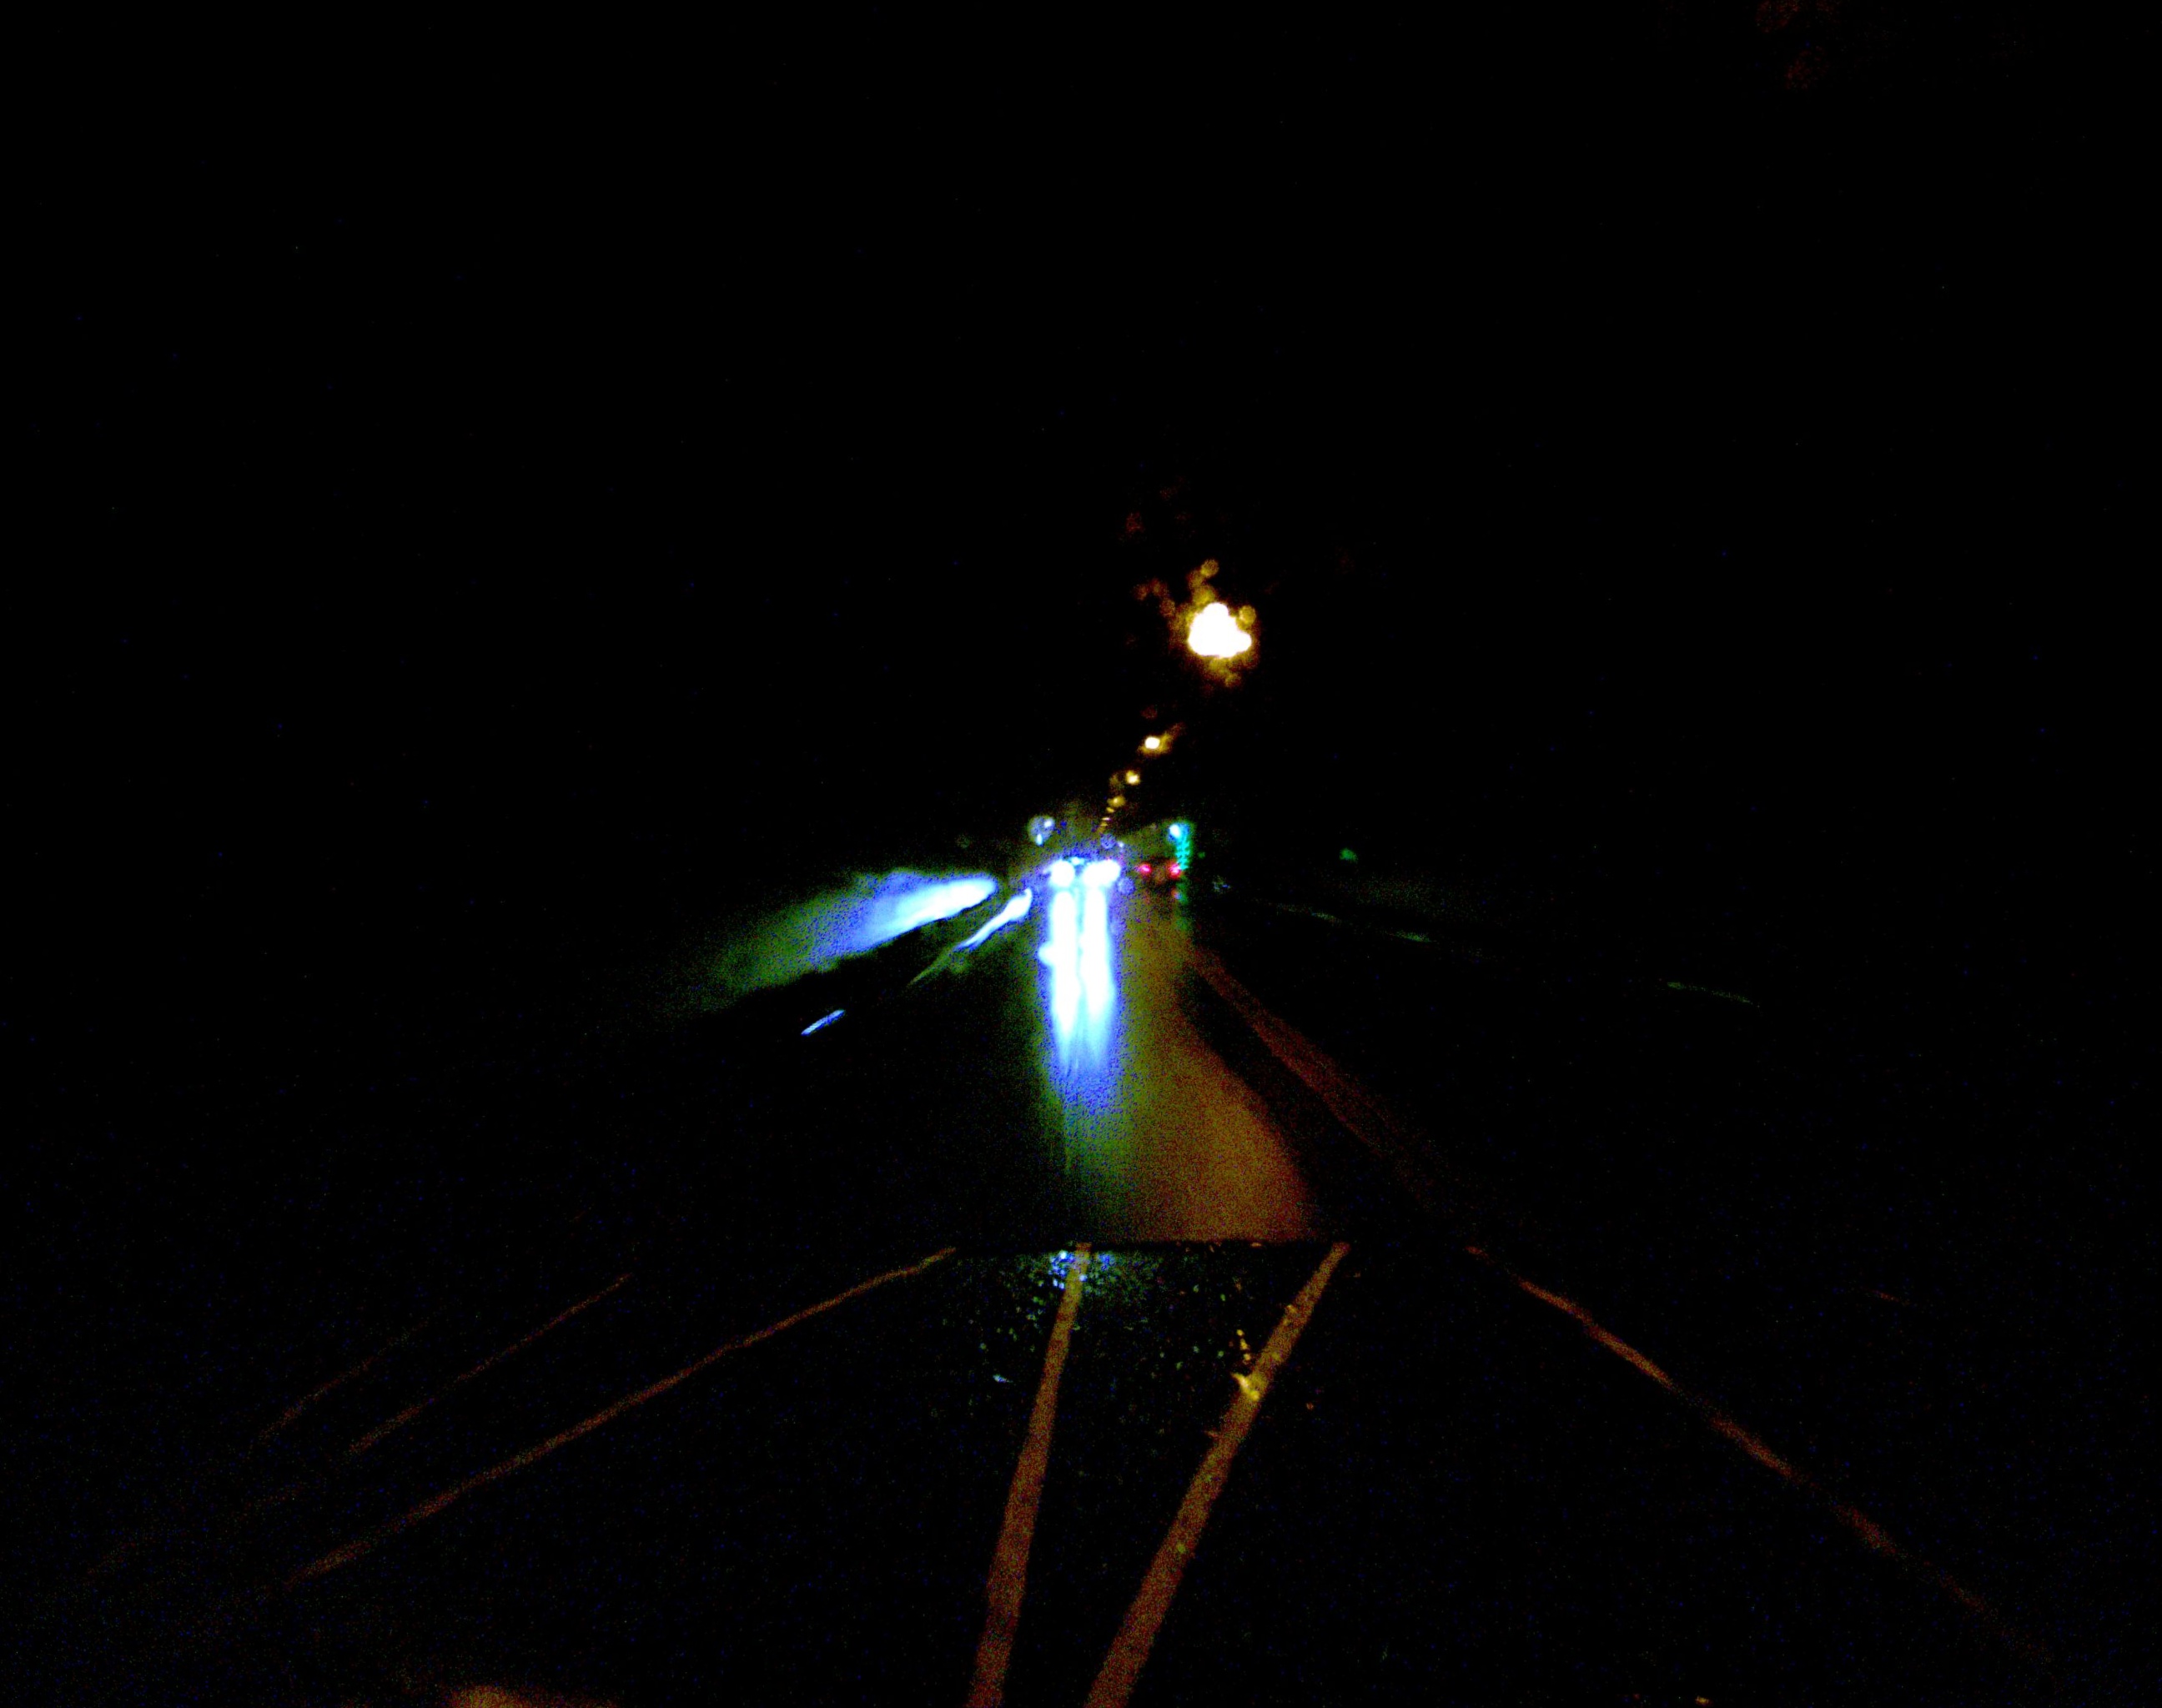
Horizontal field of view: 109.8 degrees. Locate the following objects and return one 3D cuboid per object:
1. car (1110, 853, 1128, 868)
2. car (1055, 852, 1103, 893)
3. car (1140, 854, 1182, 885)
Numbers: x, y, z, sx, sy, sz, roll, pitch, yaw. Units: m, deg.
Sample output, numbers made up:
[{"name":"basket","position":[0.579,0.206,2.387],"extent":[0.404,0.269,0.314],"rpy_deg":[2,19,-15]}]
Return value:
[{"name":"car","position":[4.216,0.715,84.596],"extent":[1.695,1.496,3.744],"rpy_deg":[-2,0,0]},{"name":"car","position":[-0.156,0.804,35.767],"extent":[1.999,1.547,3.998],"rpy_deg":[-5,2,-2]},{"name":"car","position":[3.962,0.723,38.110],"extent":[1.715,1.454,3.575],"rpy_deg":[-1,0,1]}]
